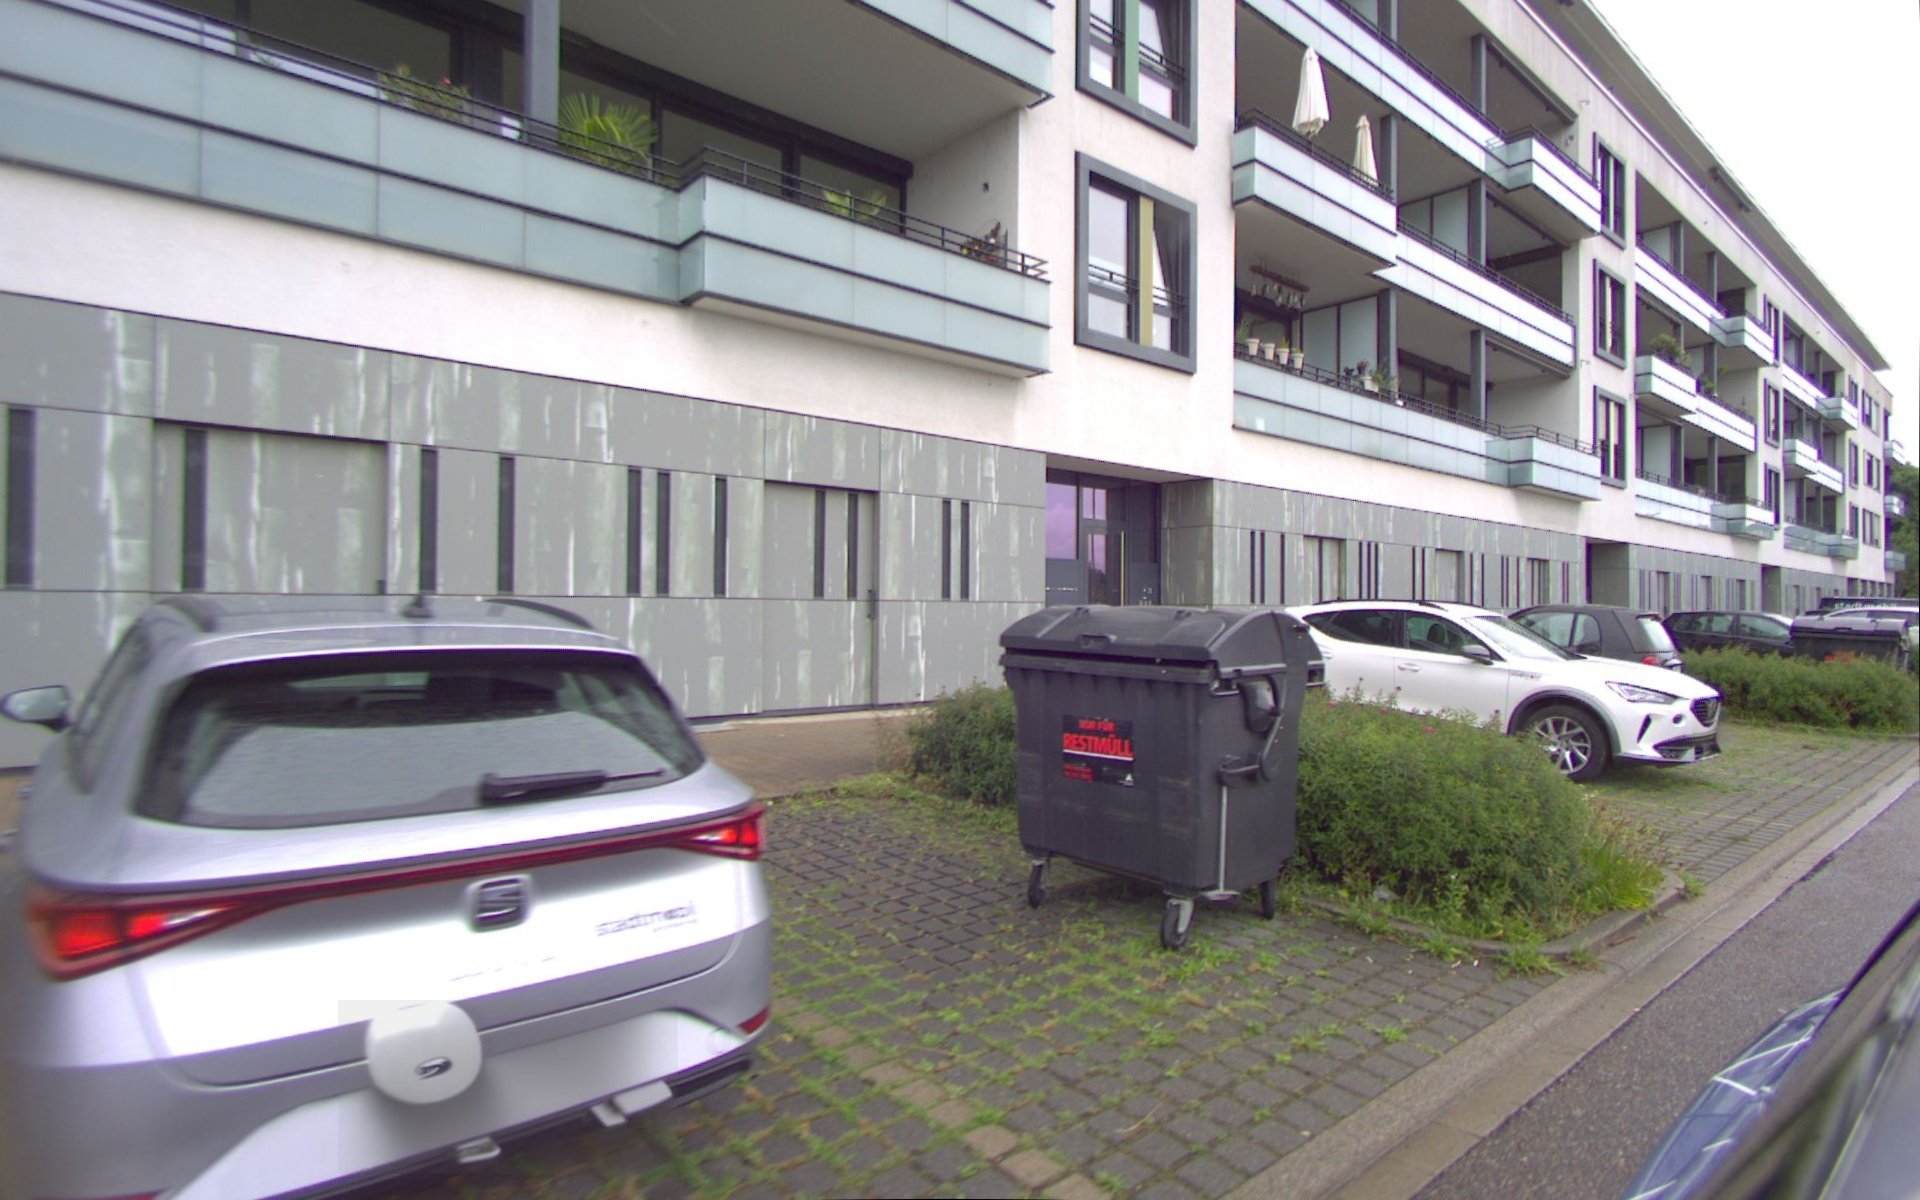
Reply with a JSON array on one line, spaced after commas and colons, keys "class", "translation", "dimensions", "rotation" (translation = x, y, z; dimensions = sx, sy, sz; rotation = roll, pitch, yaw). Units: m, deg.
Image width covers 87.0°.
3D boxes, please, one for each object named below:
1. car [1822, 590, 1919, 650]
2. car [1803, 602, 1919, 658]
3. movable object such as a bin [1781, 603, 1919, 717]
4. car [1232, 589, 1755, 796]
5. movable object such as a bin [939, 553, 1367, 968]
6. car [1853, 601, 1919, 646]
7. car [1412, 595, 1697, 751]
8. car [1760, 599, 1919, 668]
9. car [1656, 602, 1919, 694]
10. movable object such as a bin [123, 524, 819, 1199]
[{"class": "car", "translation": [32.932, 0.702, 34.574], "dimensions": [1.947, 1.953, 5.060], "rotation": [1, 1, -40]}, {"class": "car", "translation": [27.614, 0.877, 29.749], "dimensions": [1.721, 1.501, 4.180], "rotation": [0, 2, -44]}, {"class": "movable object such as a bin", "translation": [13.212, 0.837, 14.921], "dimensions": [1.135, 1.512, 1.499], "rotation": [1, 2, -40]}, {"class": "car", "translation": [5.180, 0.733, 10.383], "dimensions": [1.859, 1.549, 4.357], "rotation": [1, 1, -39]}, {"class": "movable object such as a bin", "translation": [0.910, 0.610, 4.789], "dimensions": [1.554, 1.546, 1.302], "rotation": [1, -2, -40]}, {"class": "car", "translation": [36.739, 0.910, 38.015], "dimensions": [2.043, 1.621, 4.434], "rotation": [1, 1, -36]}, {"class": "car", "translation": [6.812, 0.749, 11.712], "dimensions": [2.624, 1.525, 1.188], "rotation": [2, 1, 44]}, {"class": "car", "translation": [23.546, 0.829, 26.228], "dimensions": [1.657, 1.665, 4.214], "rotation": [0, 0, -41]}, {"class": "car", "translation": [16.304, 0.866, 20.016], "dimensions": [1.731, 1.509, 3.854], "rotation": [1, 1, -39]}, {"class": "movable object such as a bin", "translation": [-1.437, 0.614, 2.977], "dimensions": [1.554, 1.545, 1.303], "rotation": [1, 1, -40]}]
